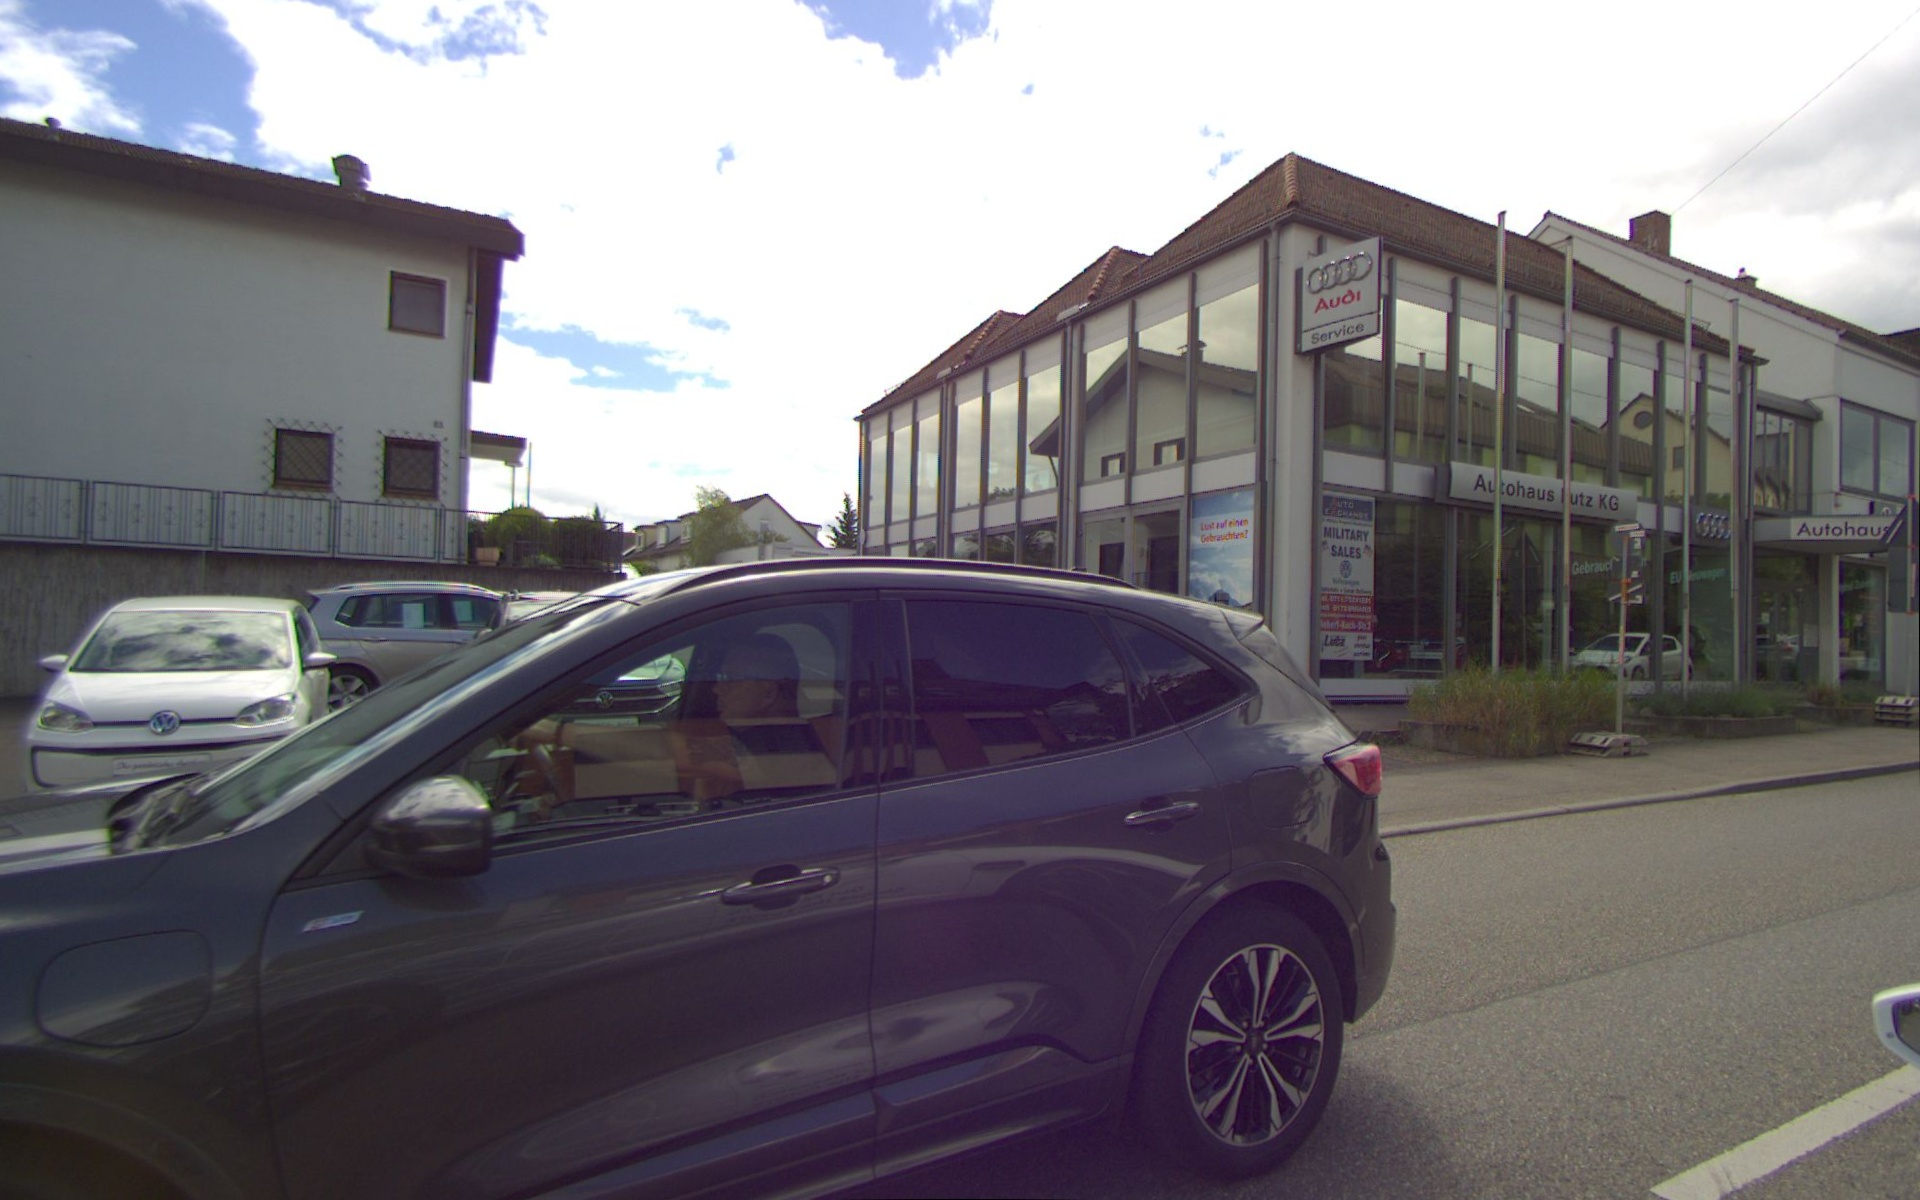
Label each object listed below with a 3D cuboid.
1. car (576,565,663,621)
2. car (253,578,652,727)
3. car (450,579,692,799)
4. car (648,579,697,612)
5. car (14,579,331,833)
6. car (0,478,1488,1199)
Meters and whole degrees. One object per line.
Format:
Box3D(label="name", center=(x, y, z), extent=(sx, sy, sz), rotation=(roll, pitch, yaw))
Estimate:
Box3D(label="car", center=(-9.833, -0.244, 28.829), extent=(1.834, 1.463, 3.776), rotation=(0, 2, -27))
Box3D(label="car", center=(-6.318, 0.560, 12.879), extent=(4.274, 1.606, 1.798), rotation=(0, 2, -29))
Box3D(label="car", center=(-3.976, 0.658, 9.853), extent=(1.634, 1.652, 3.994), rotation=(1, 1, -30))
Box3D(label="car", center=(-14.078, -0.224, 49.002), extent=(1.592, 1.463, 3.776), rotation=(0, 2, -27))
Box3D(label="car", center=(-6.260, 0.650, 8.382), extent=(1.516, 1.581, 3.722), rotation=(1, 1, -30))
Box3D(label="car", center=(-0.666, 0.688, 2.849), extent=(4.268, 1.651, 1.823), rotation=(1, -1, -29))
